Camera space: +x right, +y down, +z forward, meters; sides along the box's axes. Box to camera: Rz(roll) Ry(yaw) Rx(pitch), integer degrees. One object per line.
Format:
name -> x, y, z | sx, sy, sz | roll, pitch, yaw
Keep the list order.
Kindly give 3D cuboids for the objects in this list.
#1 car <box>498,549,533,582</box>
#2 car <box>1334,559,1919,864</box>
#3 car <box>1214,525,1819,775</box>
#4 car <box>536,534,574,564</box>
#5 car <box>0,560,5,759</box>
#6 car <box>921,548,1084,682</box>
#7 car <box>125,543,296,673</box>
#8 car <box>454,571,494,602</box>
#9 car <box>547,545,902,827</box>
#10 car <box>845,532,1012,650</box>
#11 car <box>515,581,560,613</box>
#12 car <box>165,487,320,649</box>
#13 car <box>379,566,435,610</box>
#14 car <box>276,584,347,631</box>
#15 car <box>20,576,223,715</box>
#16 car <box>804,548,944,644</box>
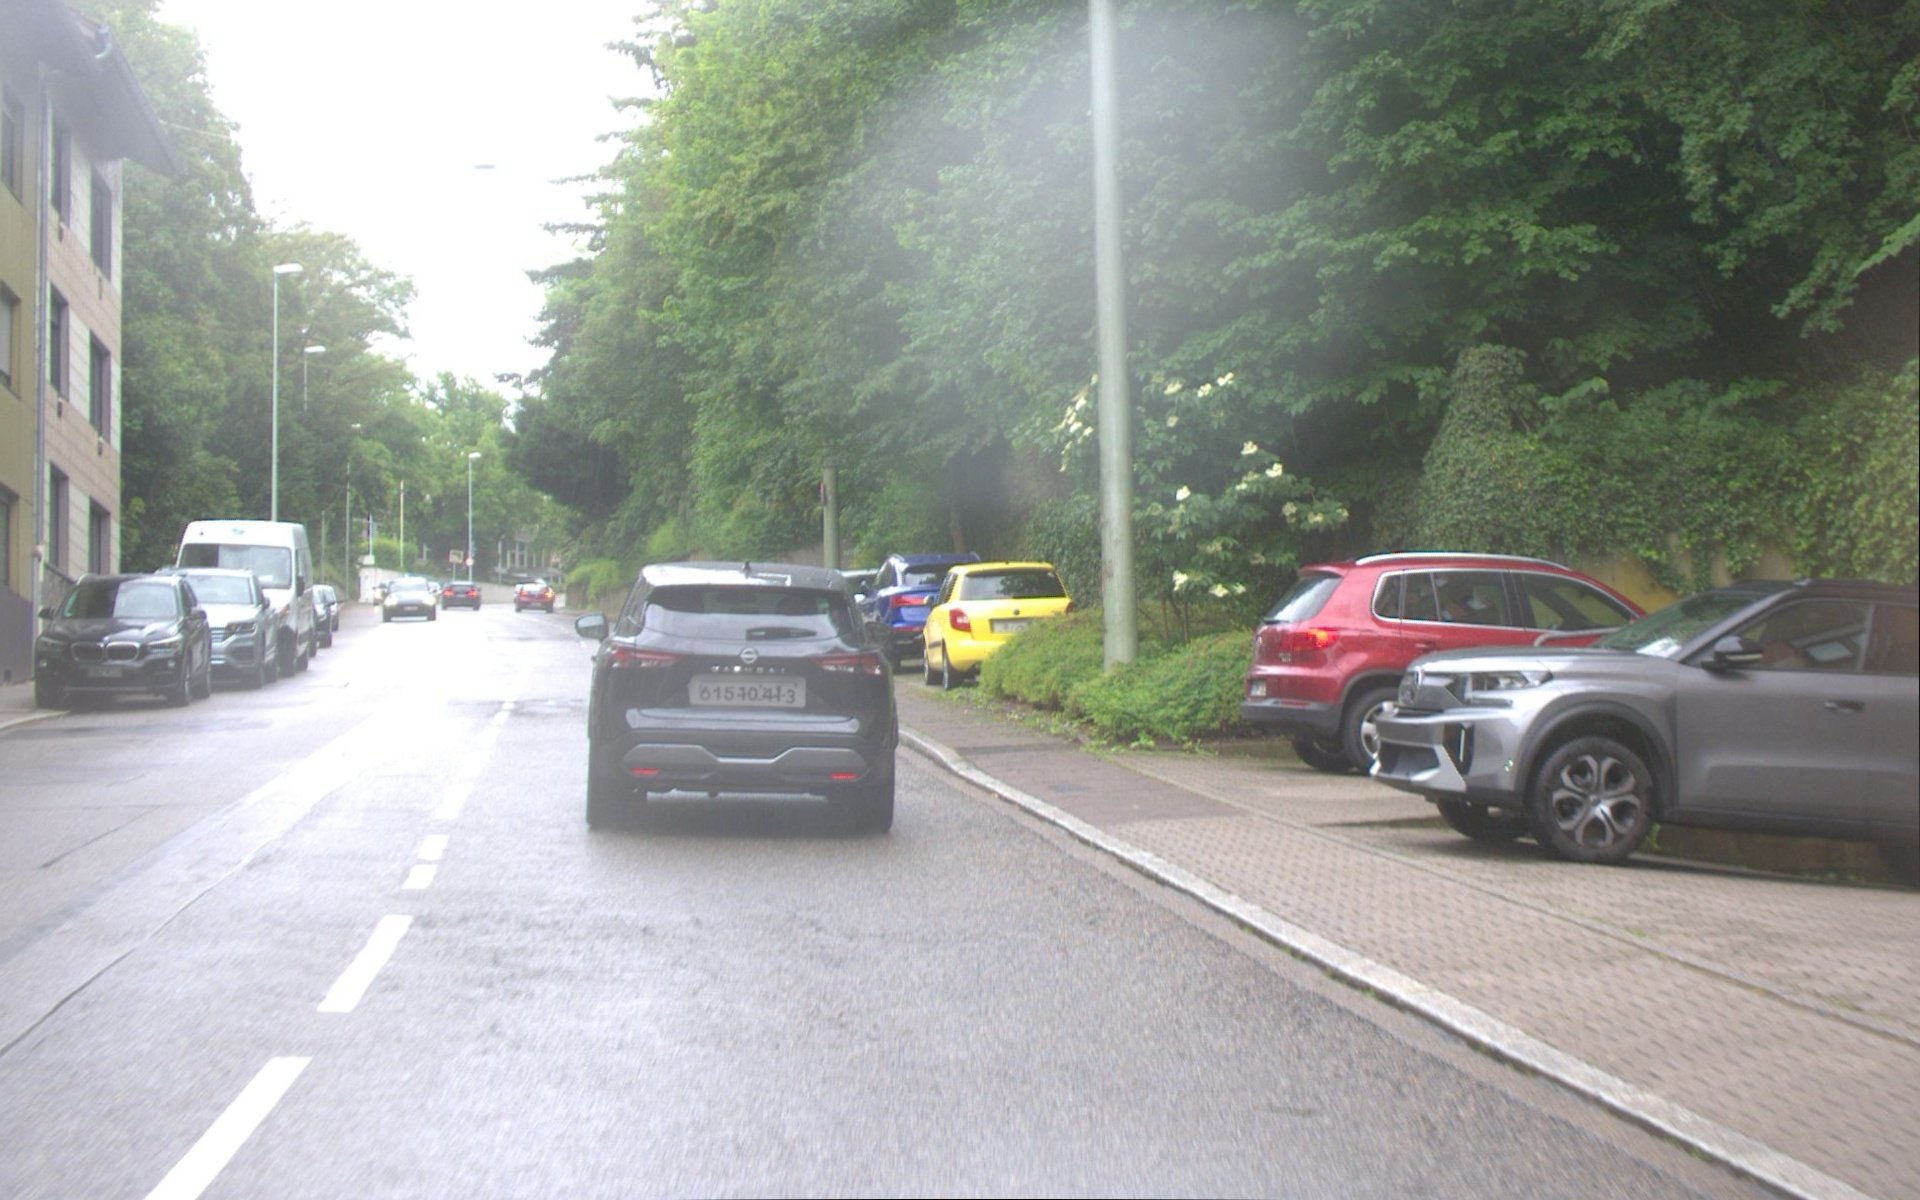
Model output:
car -> -29.263, -2.276, 226.548 | 1.993, 2.007, 4.000 | 1, -2, -4
car -> 4.329, 0.599, 18.718 | 4.197, 1.491, 1.760 | 2, 0, -8
car -> 4.240, 0.376, 26.474 | 4.196, 1.729, 1.760 | 2, 0, -10
car -> -23.551, -2.944, 200.168 | 1.993, 1.554, 4.000 | -2, -1, -4
car -> -8.290, 0.518, 25.239 | 1.853, 1.579, 4.306 | -1, 1, -7
car -> 0.473, 0.148, 41.702 | 1.632, 1.525, 4.001 | 1, 1, -4
car -> -10.662, 0.069, 49.184 | 1.990, 1.749, 4.481 | -1, 1, -7
car -> -25.195, -0.726, 178.304 | 2.074, 1.554, 4.001 | 0, 1, -8
car -> -1.557, 0.462, 21.528 | 1.993, 1.554, 4.001 | 1, 1, -6
car -> -0.494, -0.145, 48.626 | 1.810, 1.525, 4.418 | -3, 1, -7
car -> -21.521, -0.154, 175.044 | 2.074, 1.554, 4.001 | 0, 1, -10
car -> -11.572, -0.550, 55.780 | 1.990, 2.466, 5.786 | -1, 1, -7
car -> -20.871, -0.467, 129.799 | 1.993, 1.554, 4.001 | 1, 1, -8
car -> -20.966, 0.230, 111.239 | 1.990, 1.379, 4.459 | -1, 1, -7
car -> -10.400, 0.523, 42.920 | 1.990, 1.579, 4.306 | -1, 1, -7
car -> -1.521, -0.085, 59.379 | 1.810, 1.525, 4.418 | -3, 1, -9
